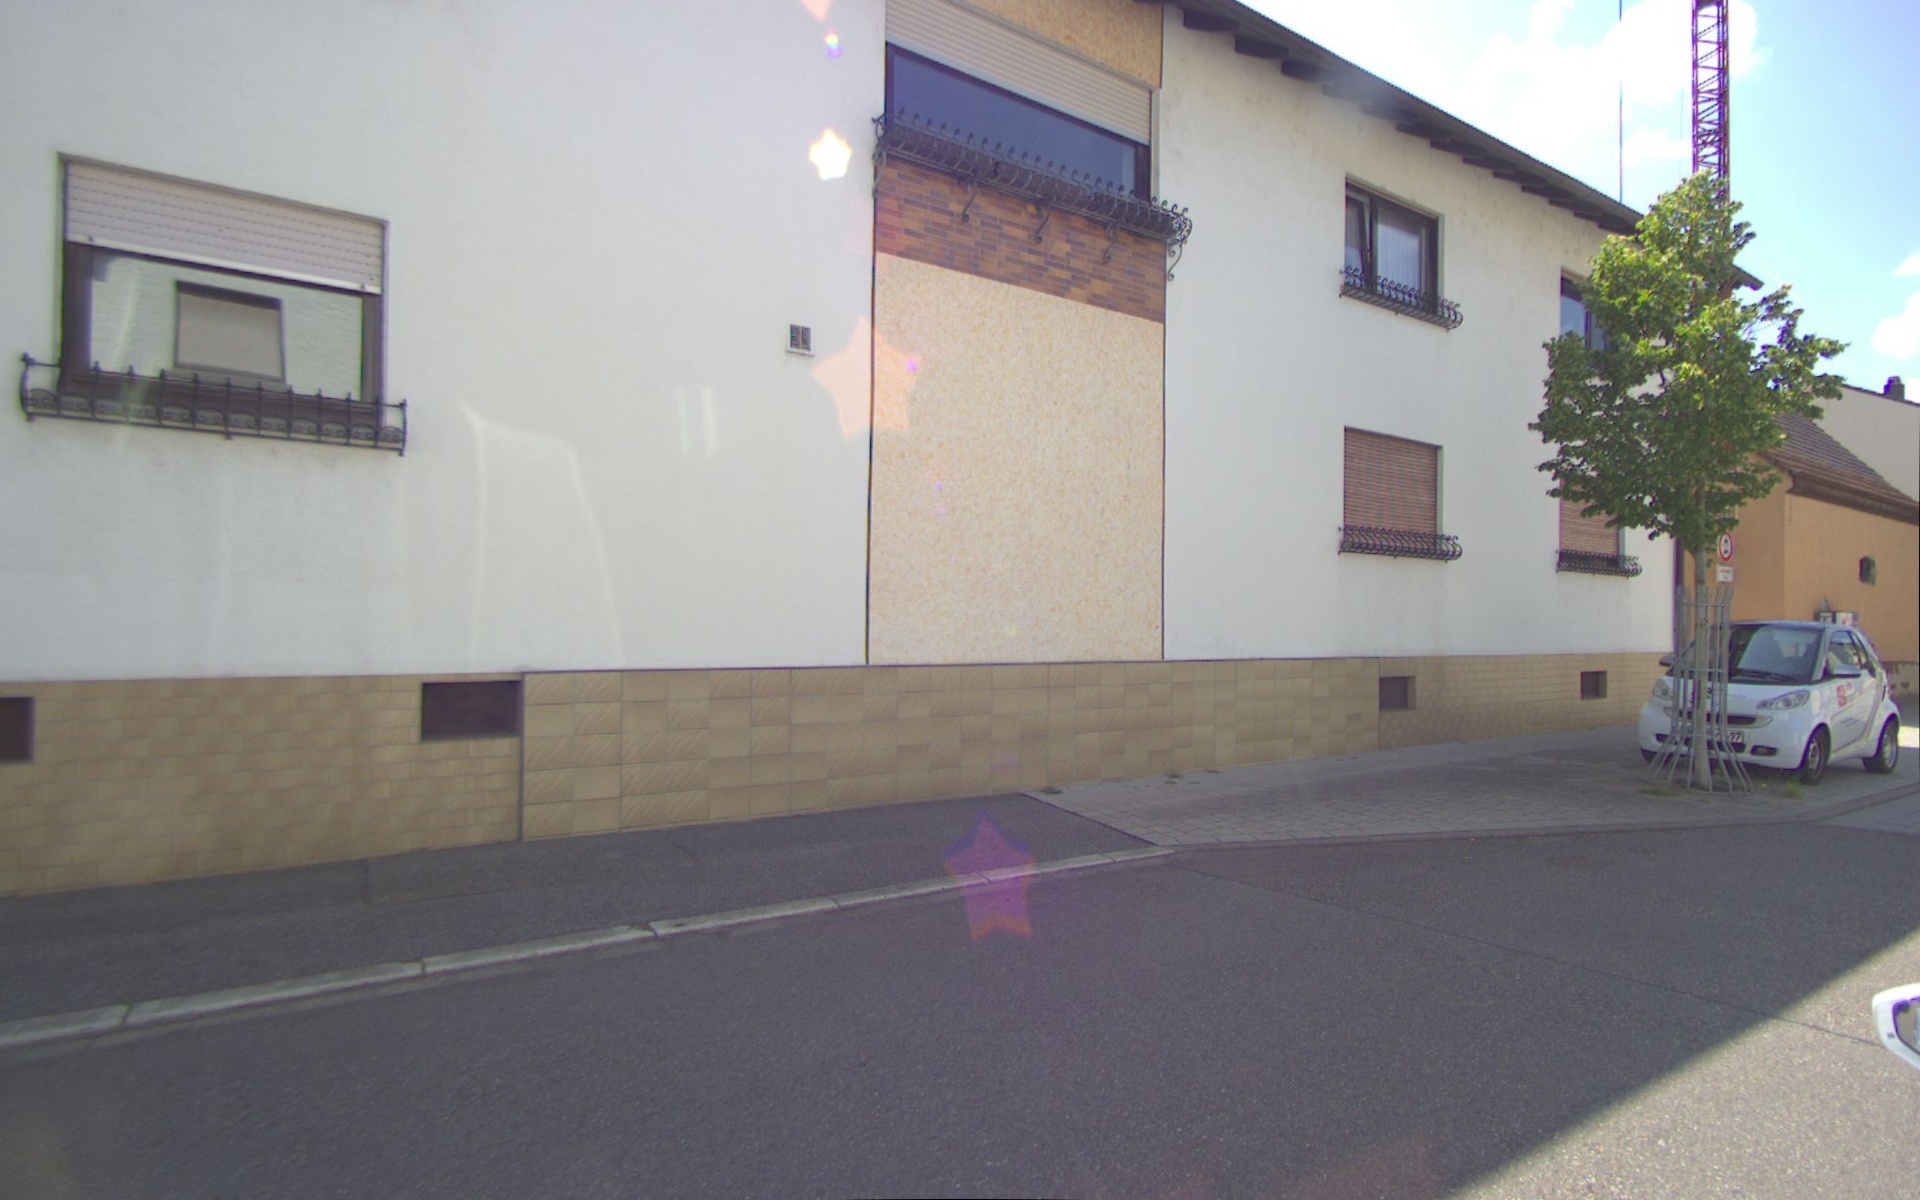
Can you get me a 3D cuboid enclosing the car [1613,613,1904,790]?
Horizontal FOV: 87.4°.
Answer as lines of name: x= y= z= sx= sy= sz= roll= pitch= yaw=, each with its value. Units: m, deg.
car: x=8.497 y=0.980 z=10.678 sx=2.791 sy=1.582 sz=1.563 roll=2 pitch=1 yaw=-33
